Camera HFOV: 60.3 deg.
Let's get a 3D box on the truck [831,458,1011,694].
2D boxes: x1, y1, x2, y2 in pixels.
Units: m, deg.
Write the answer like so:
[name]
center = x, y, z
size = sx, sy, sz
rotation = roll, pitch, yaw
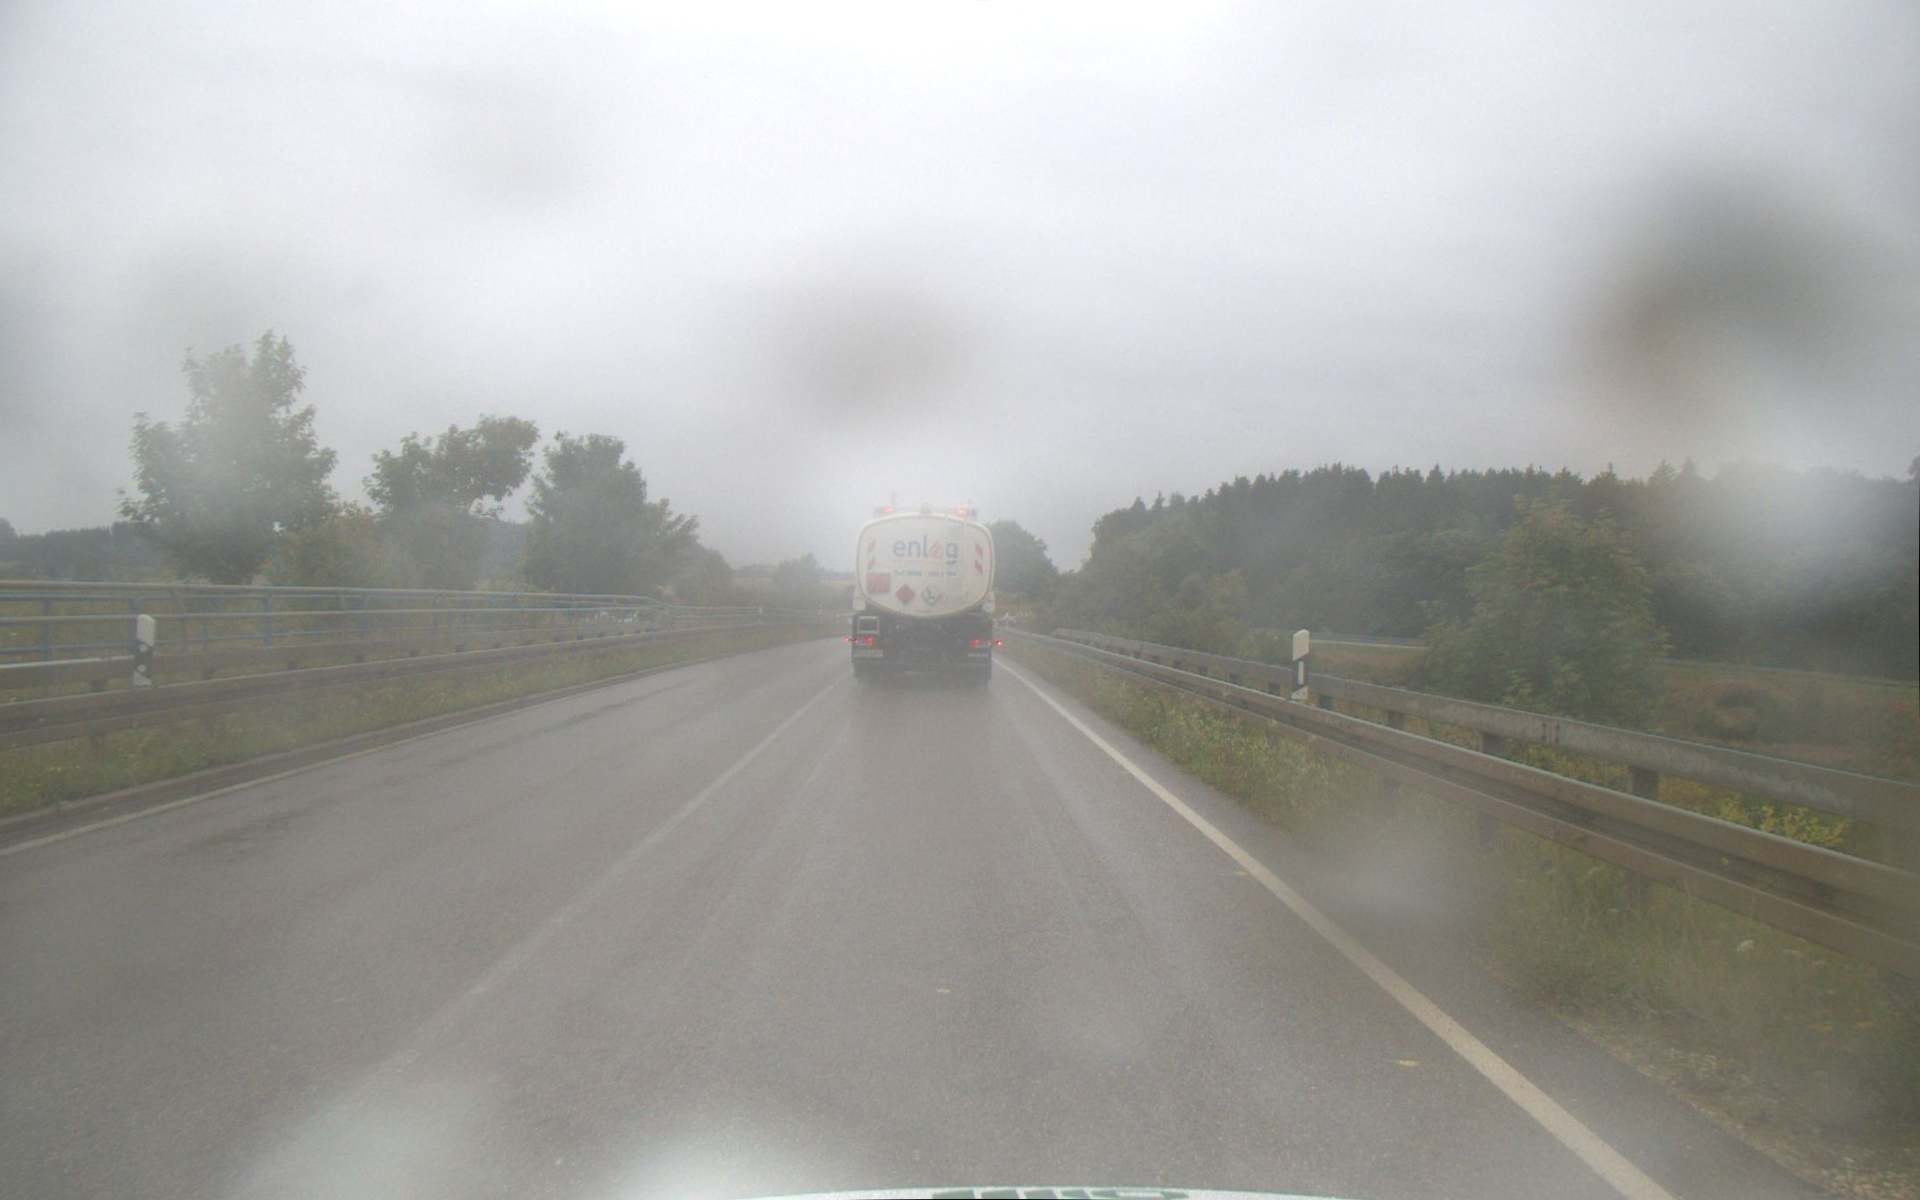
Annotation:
[truck]
center = -0.716, -0.379, 32.094
size = 2.977, 3.919, 8.820
rotation = 0, 0, -1
